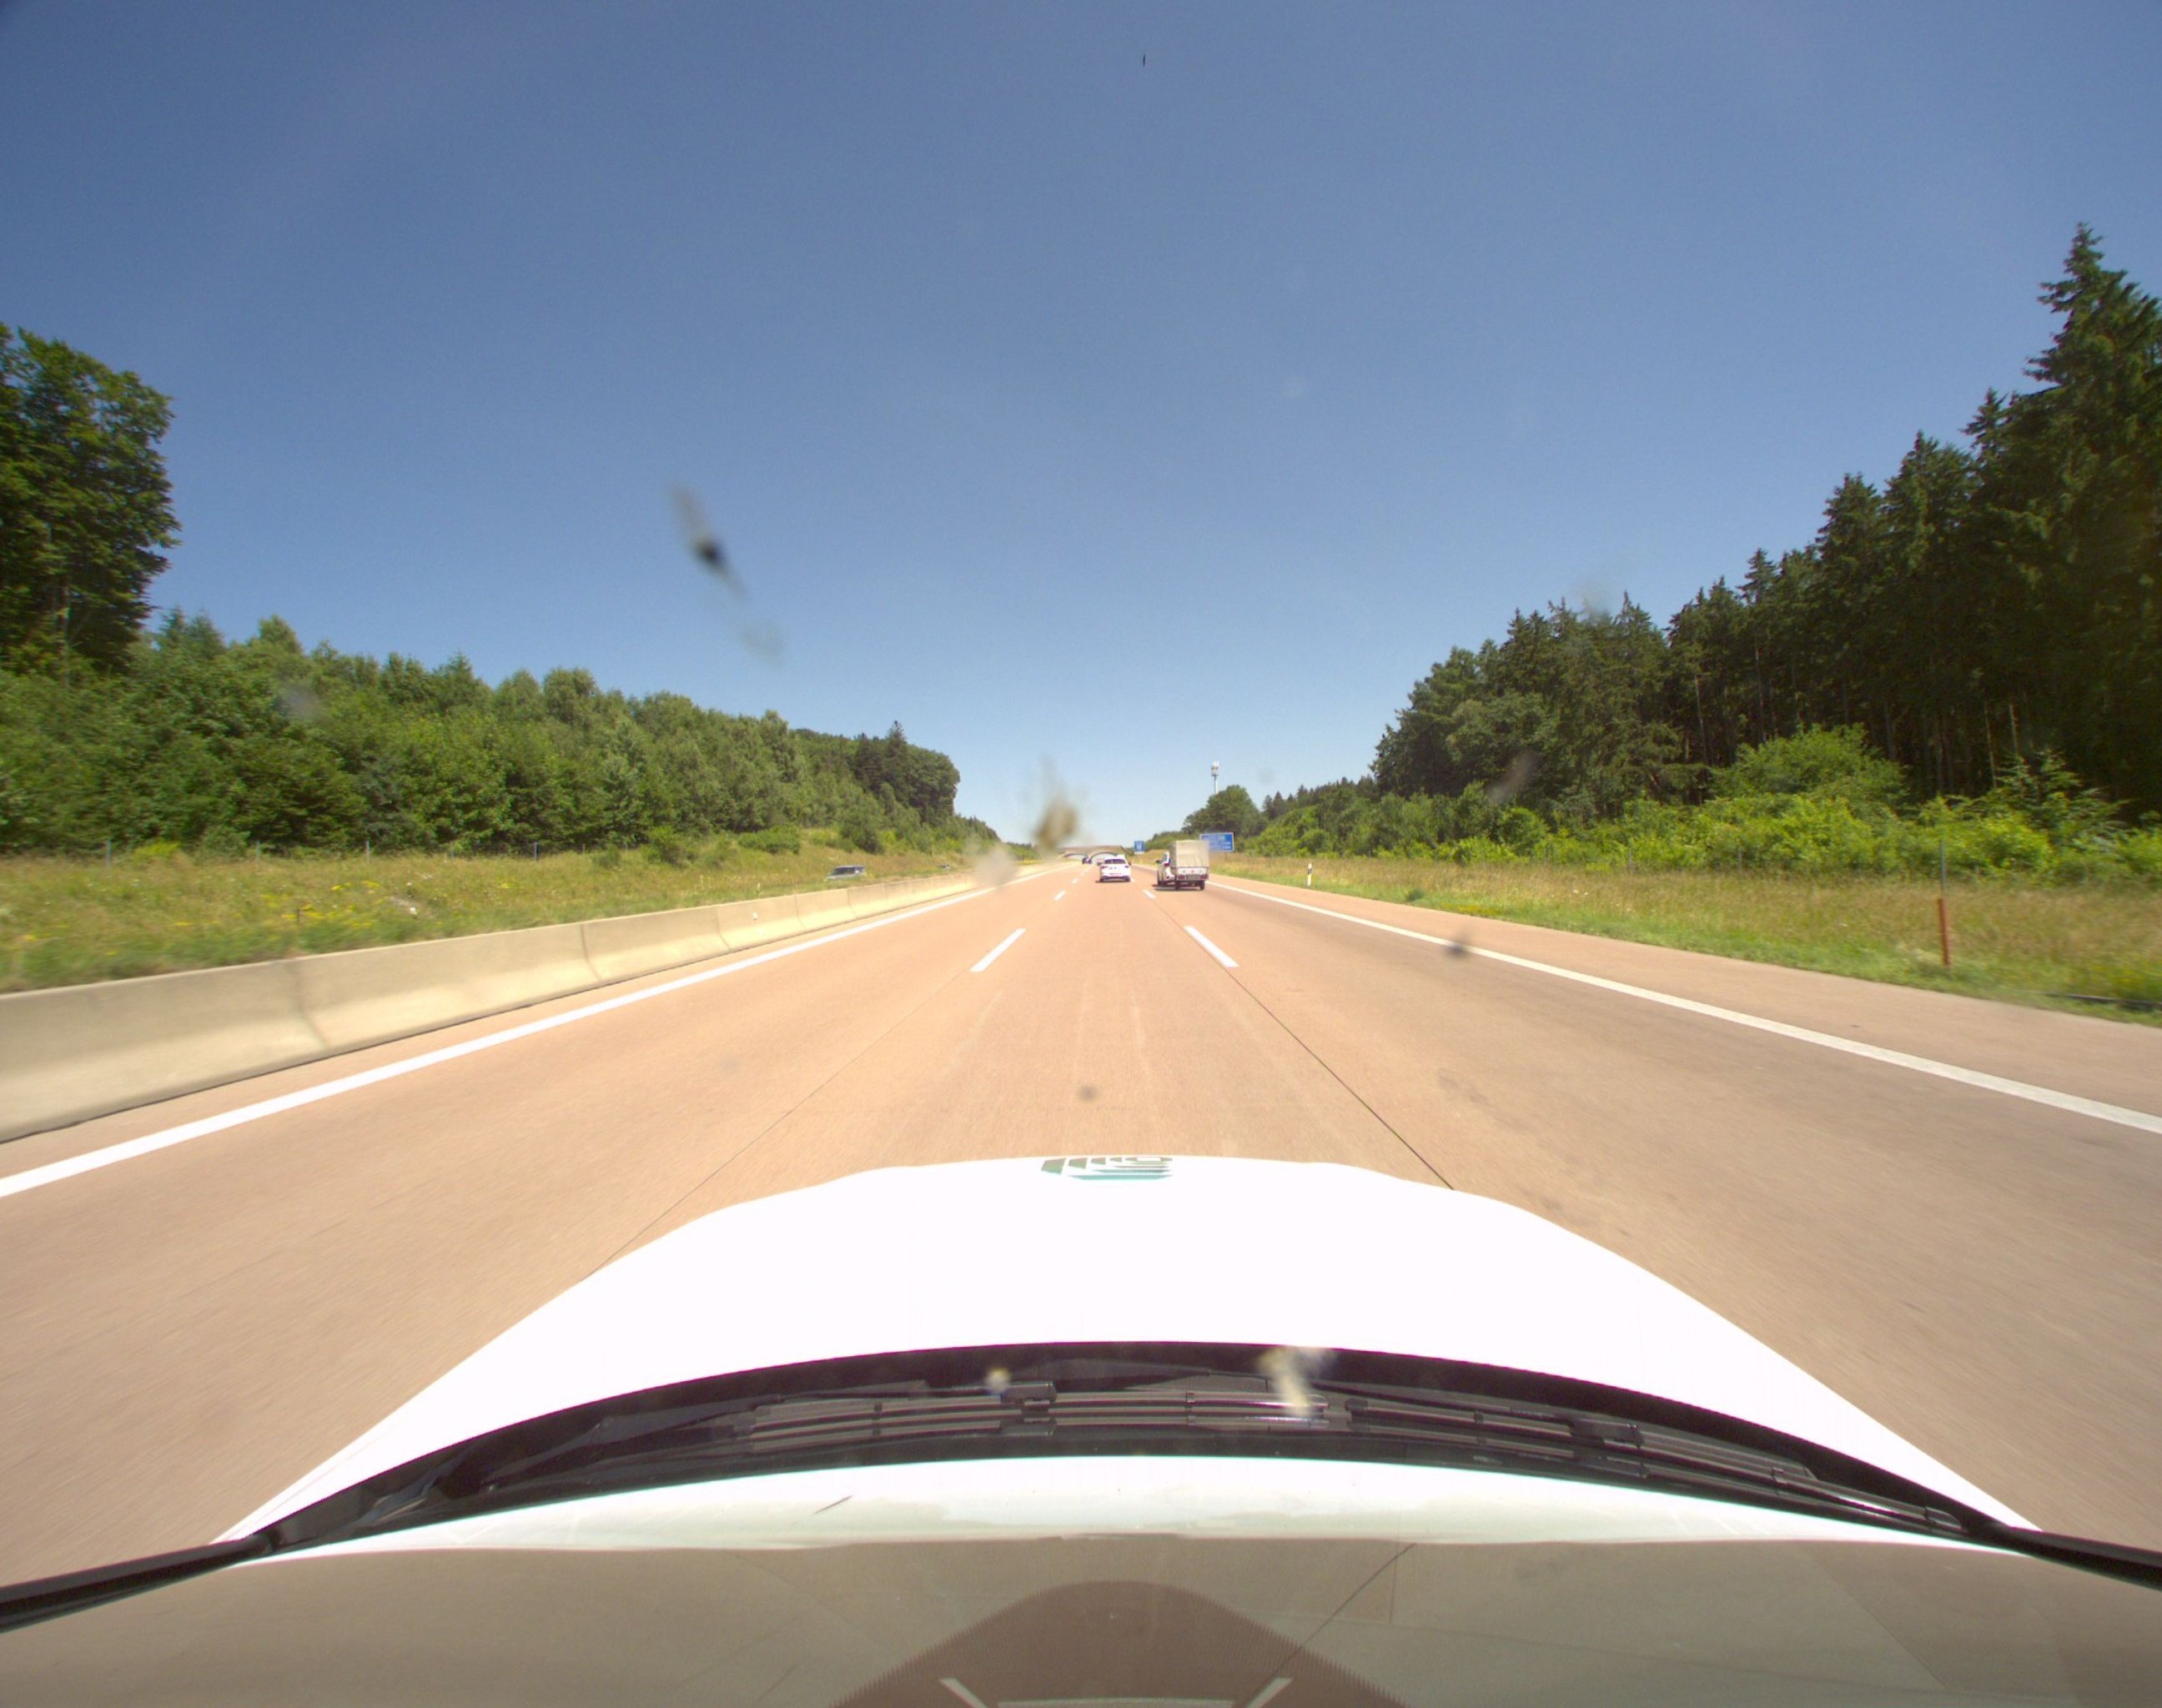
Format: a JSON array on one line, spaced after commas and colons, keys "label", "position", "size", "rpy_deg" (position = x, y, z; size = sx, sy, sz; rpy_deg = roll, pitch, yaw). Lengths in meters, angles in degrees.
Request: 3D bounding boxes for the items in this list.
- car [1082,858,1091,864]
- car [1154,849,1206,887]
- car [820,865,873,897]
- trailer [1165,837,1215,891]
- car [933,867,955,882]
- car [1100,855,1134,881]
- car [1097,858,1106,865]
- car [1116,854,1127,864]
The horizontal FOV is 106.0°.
[{"label": "car", "position": [1.429, 1.713, 195.922], "size": [1.883, 1.463, 4.004], "rpy_deg": [-1, 0, 3]}, {"label": "car", "position": [4.724, 0.654, 39.665], "size": [1.885, 1.728, 5.185], "rpy_deg": [-1, 0, 0]}, {"label": "car", "position": [-14.378, 1.629, 50.147], "size": [1.885, 1.738, 4.463], "rpy_deg": [-1, 0, 0]}, {"label": "trailer", "position": [4.624, 0.424, 35.078], "size": [1.652, 2.164, 4.016], "rpy_deg": [-1, -1, 1]}, {"label": "car", "position": [-16.438, 2.438, 97.728], "size": [1.885, 1.738, 4.462], "rpy_deg": [-1, 0, -1]}, {"label": "car", "position": [2.031, 0.779, 47.135], "size": [1.884, 1.398, 4.001], "rpy_deg": [0, 0, 1]}, {"label": "car", "position": [4.638, 1.702, 183.048], "size": [1.883, 1.463, 4.002], "rpy_deg": [-1, 0, 2]}, {"label": "car", "position": [8.133, 0.965, 164.678], "size": [2.101, 2.054, 4.004], "rpy_deg": [-1, 0, 3]}]
